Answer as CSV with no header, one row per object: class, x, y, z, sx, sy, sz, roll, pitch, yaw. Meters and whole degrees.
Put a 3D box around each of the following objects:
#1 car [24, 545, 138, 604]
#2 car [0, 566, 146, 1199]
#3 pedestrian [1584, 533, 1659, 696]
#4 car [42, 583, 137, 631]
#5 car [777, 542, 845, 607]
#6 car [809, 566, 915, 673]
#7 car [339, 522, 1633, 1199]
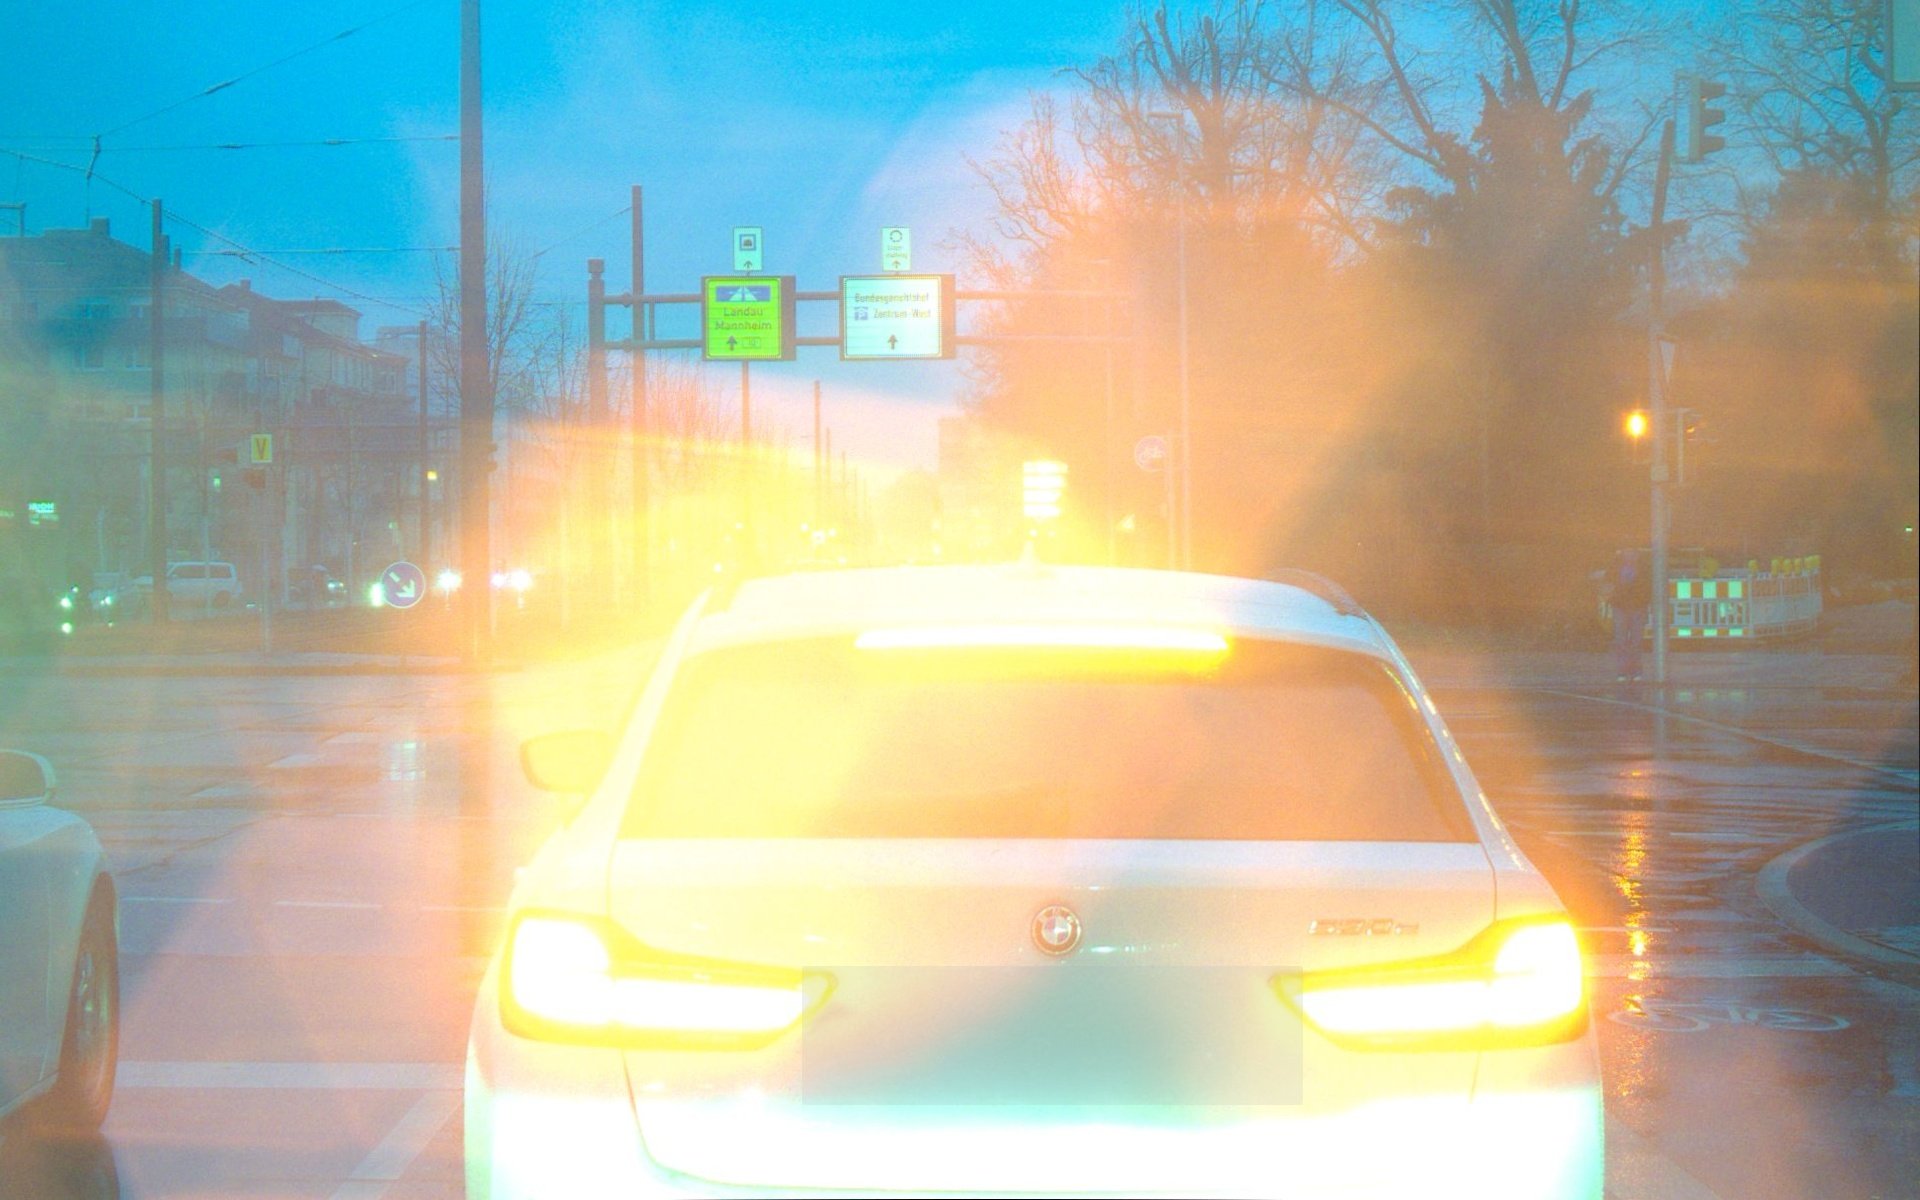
car,-22.582,-0.658,88.476,1.993,1.457,5.096,1,1,-4
car,-2.958,0.657,6.999,1.759,1.464,4.252,1,1,-3
pedestrian,7.668,0.162,39.887,0.673,1.873,0.715,1,0,-3
car,-28.125,0.211,111.212,1.993,1.457,5.095,1,1,-2
car,-4.743,-0.825,109.851,1.993,2.007,4.000,1,1,-1
car,-1.891,0.352,67.715,1.993,2.007,4.000,1,1,-1
car,-0.062,0.658,6.828,1.759,1.547,4.252,1,1,-3
